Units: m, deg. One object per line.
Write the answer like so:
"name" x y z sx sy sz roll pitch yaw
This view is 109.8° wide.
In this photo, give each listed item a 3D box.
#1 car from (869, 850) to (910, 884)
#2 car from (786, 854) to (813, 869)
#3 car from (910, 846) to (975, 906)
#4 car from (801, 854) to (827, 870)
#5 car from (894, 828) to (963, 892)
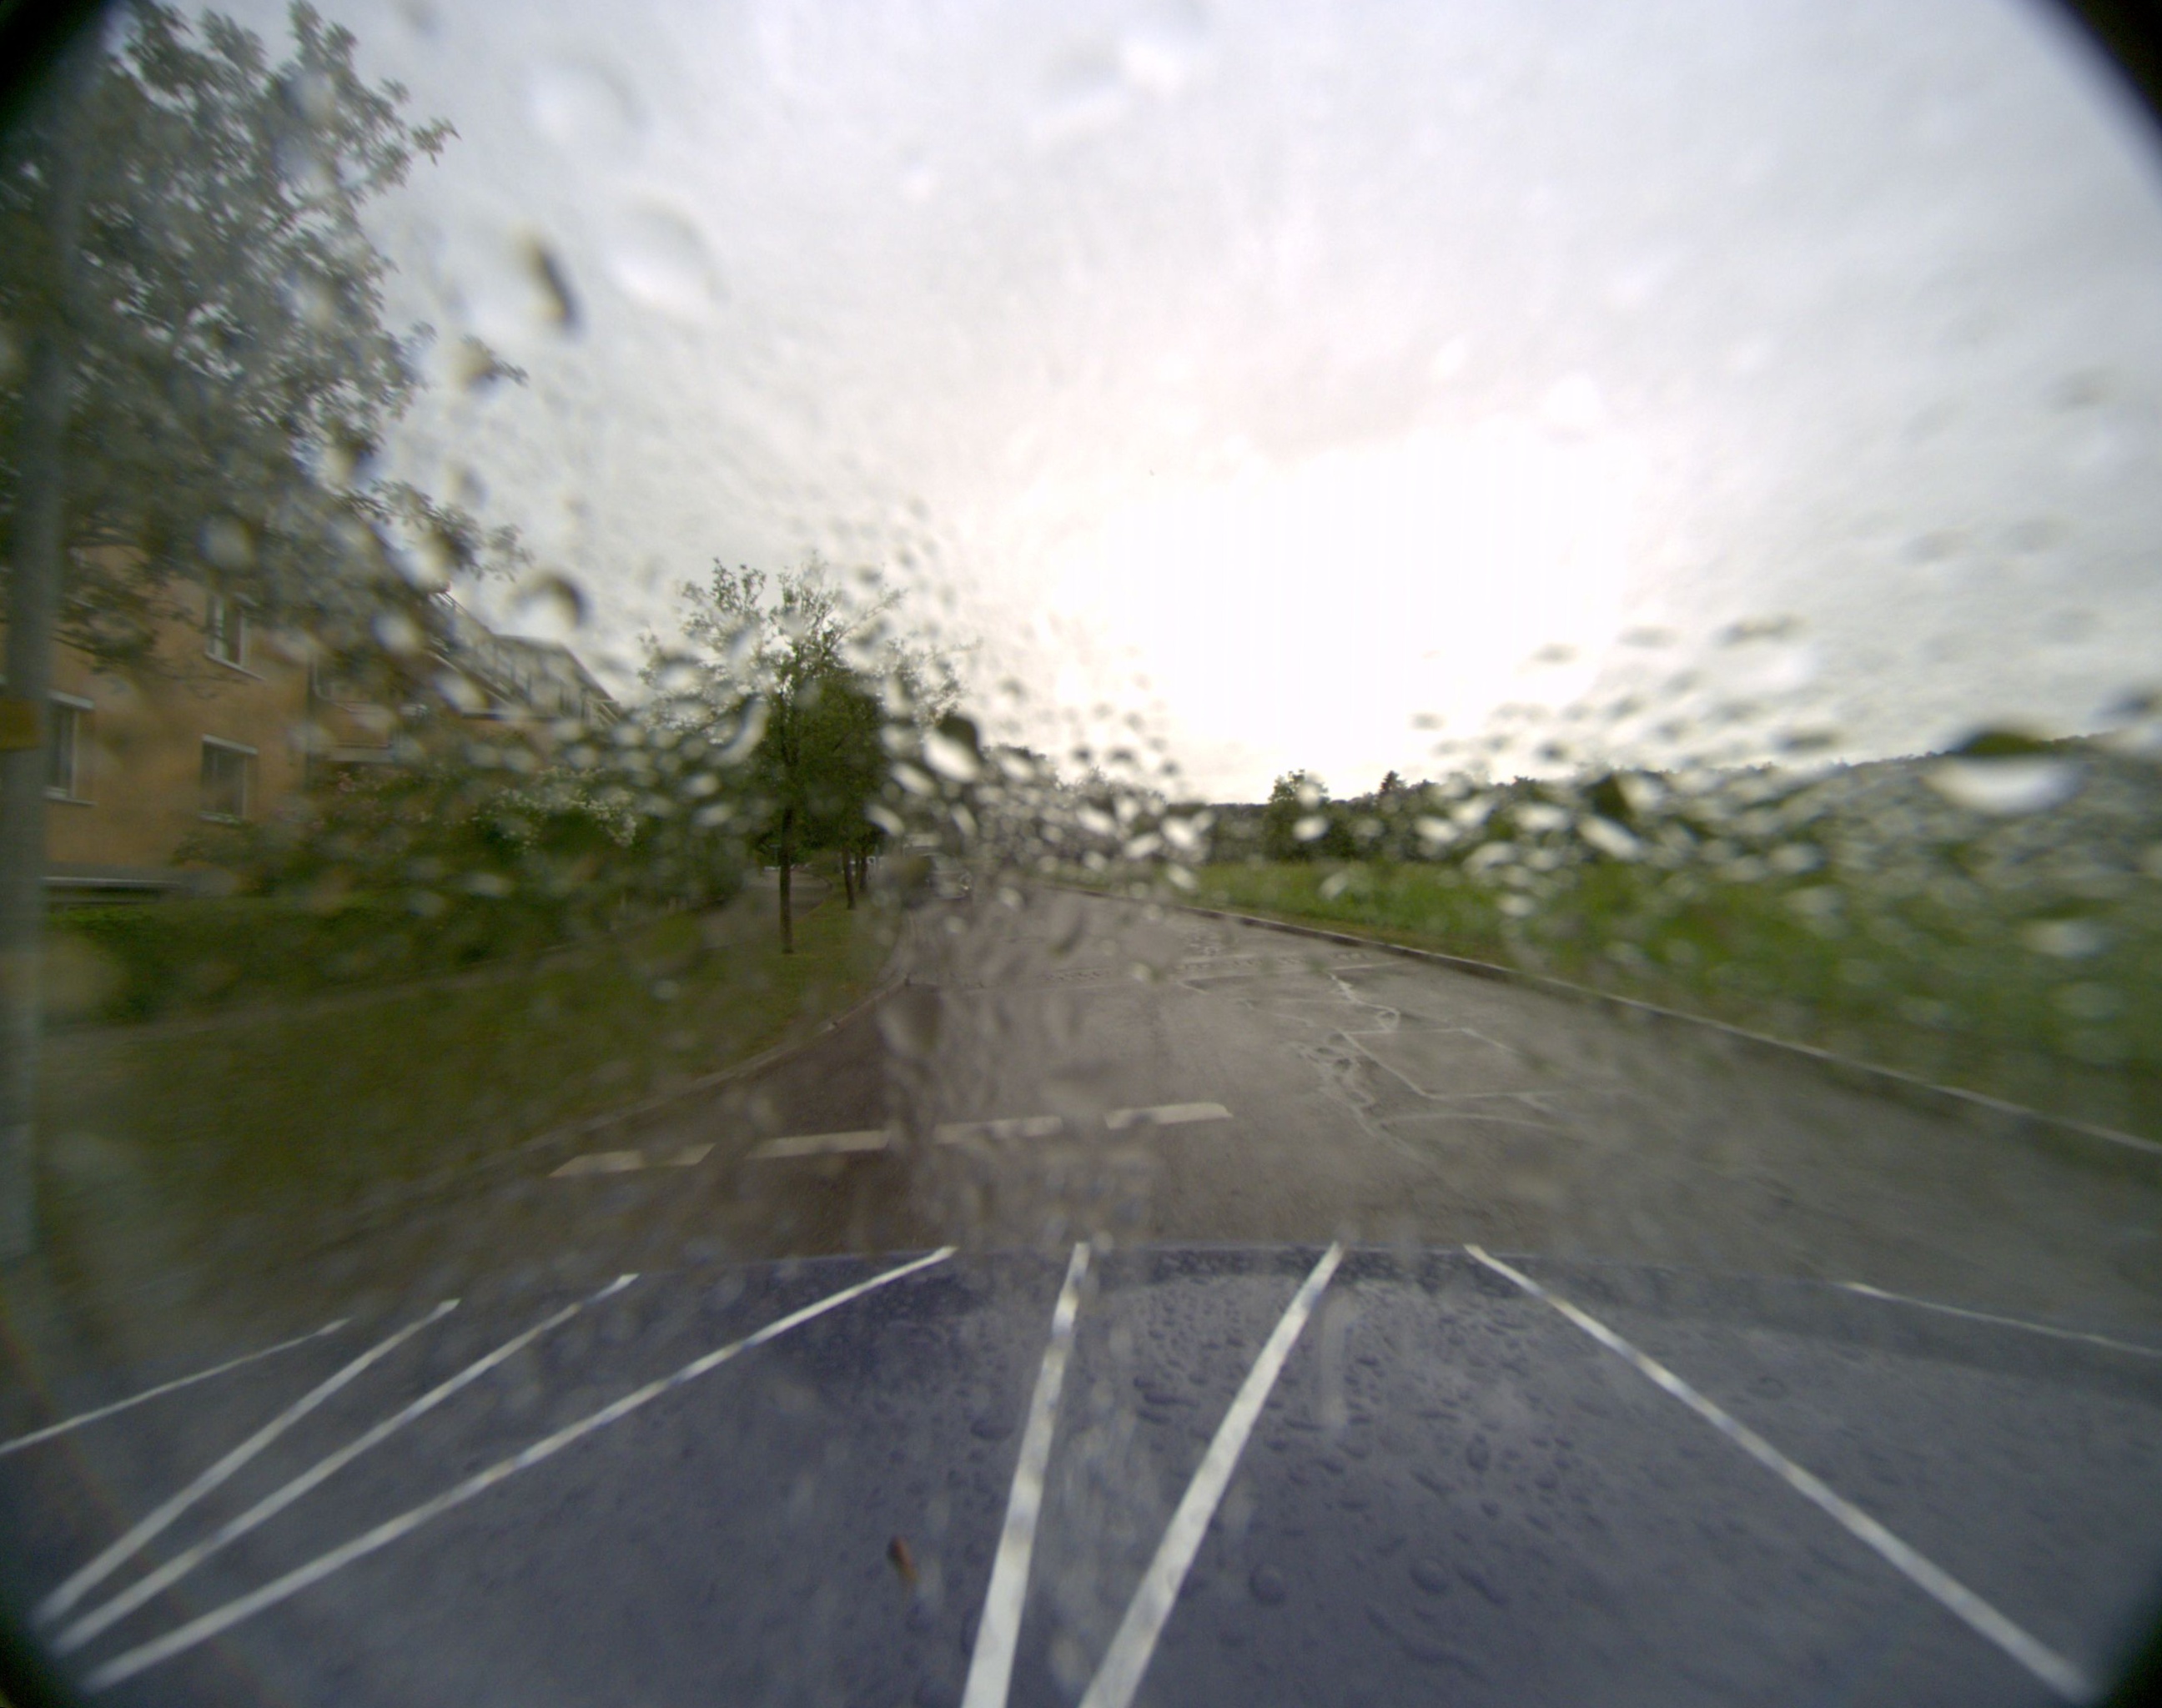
"car" -11.413 0.731 45.135 1.827 1.775 3.811 -2 2 -22
"car" -35.926 0.928 96.870 1.980 1.838 3.988 -3 2 -39
"car" -4.647 0.631 25.056 1.818 1.717 4.645 -2 2 -13
"car" -32.277 0.976 91.903 1.980 1.838 3.989 -2 2 -34
"car" -6.284 0.221 30.839 2.056 2.318 5.398 -2 1 -18
